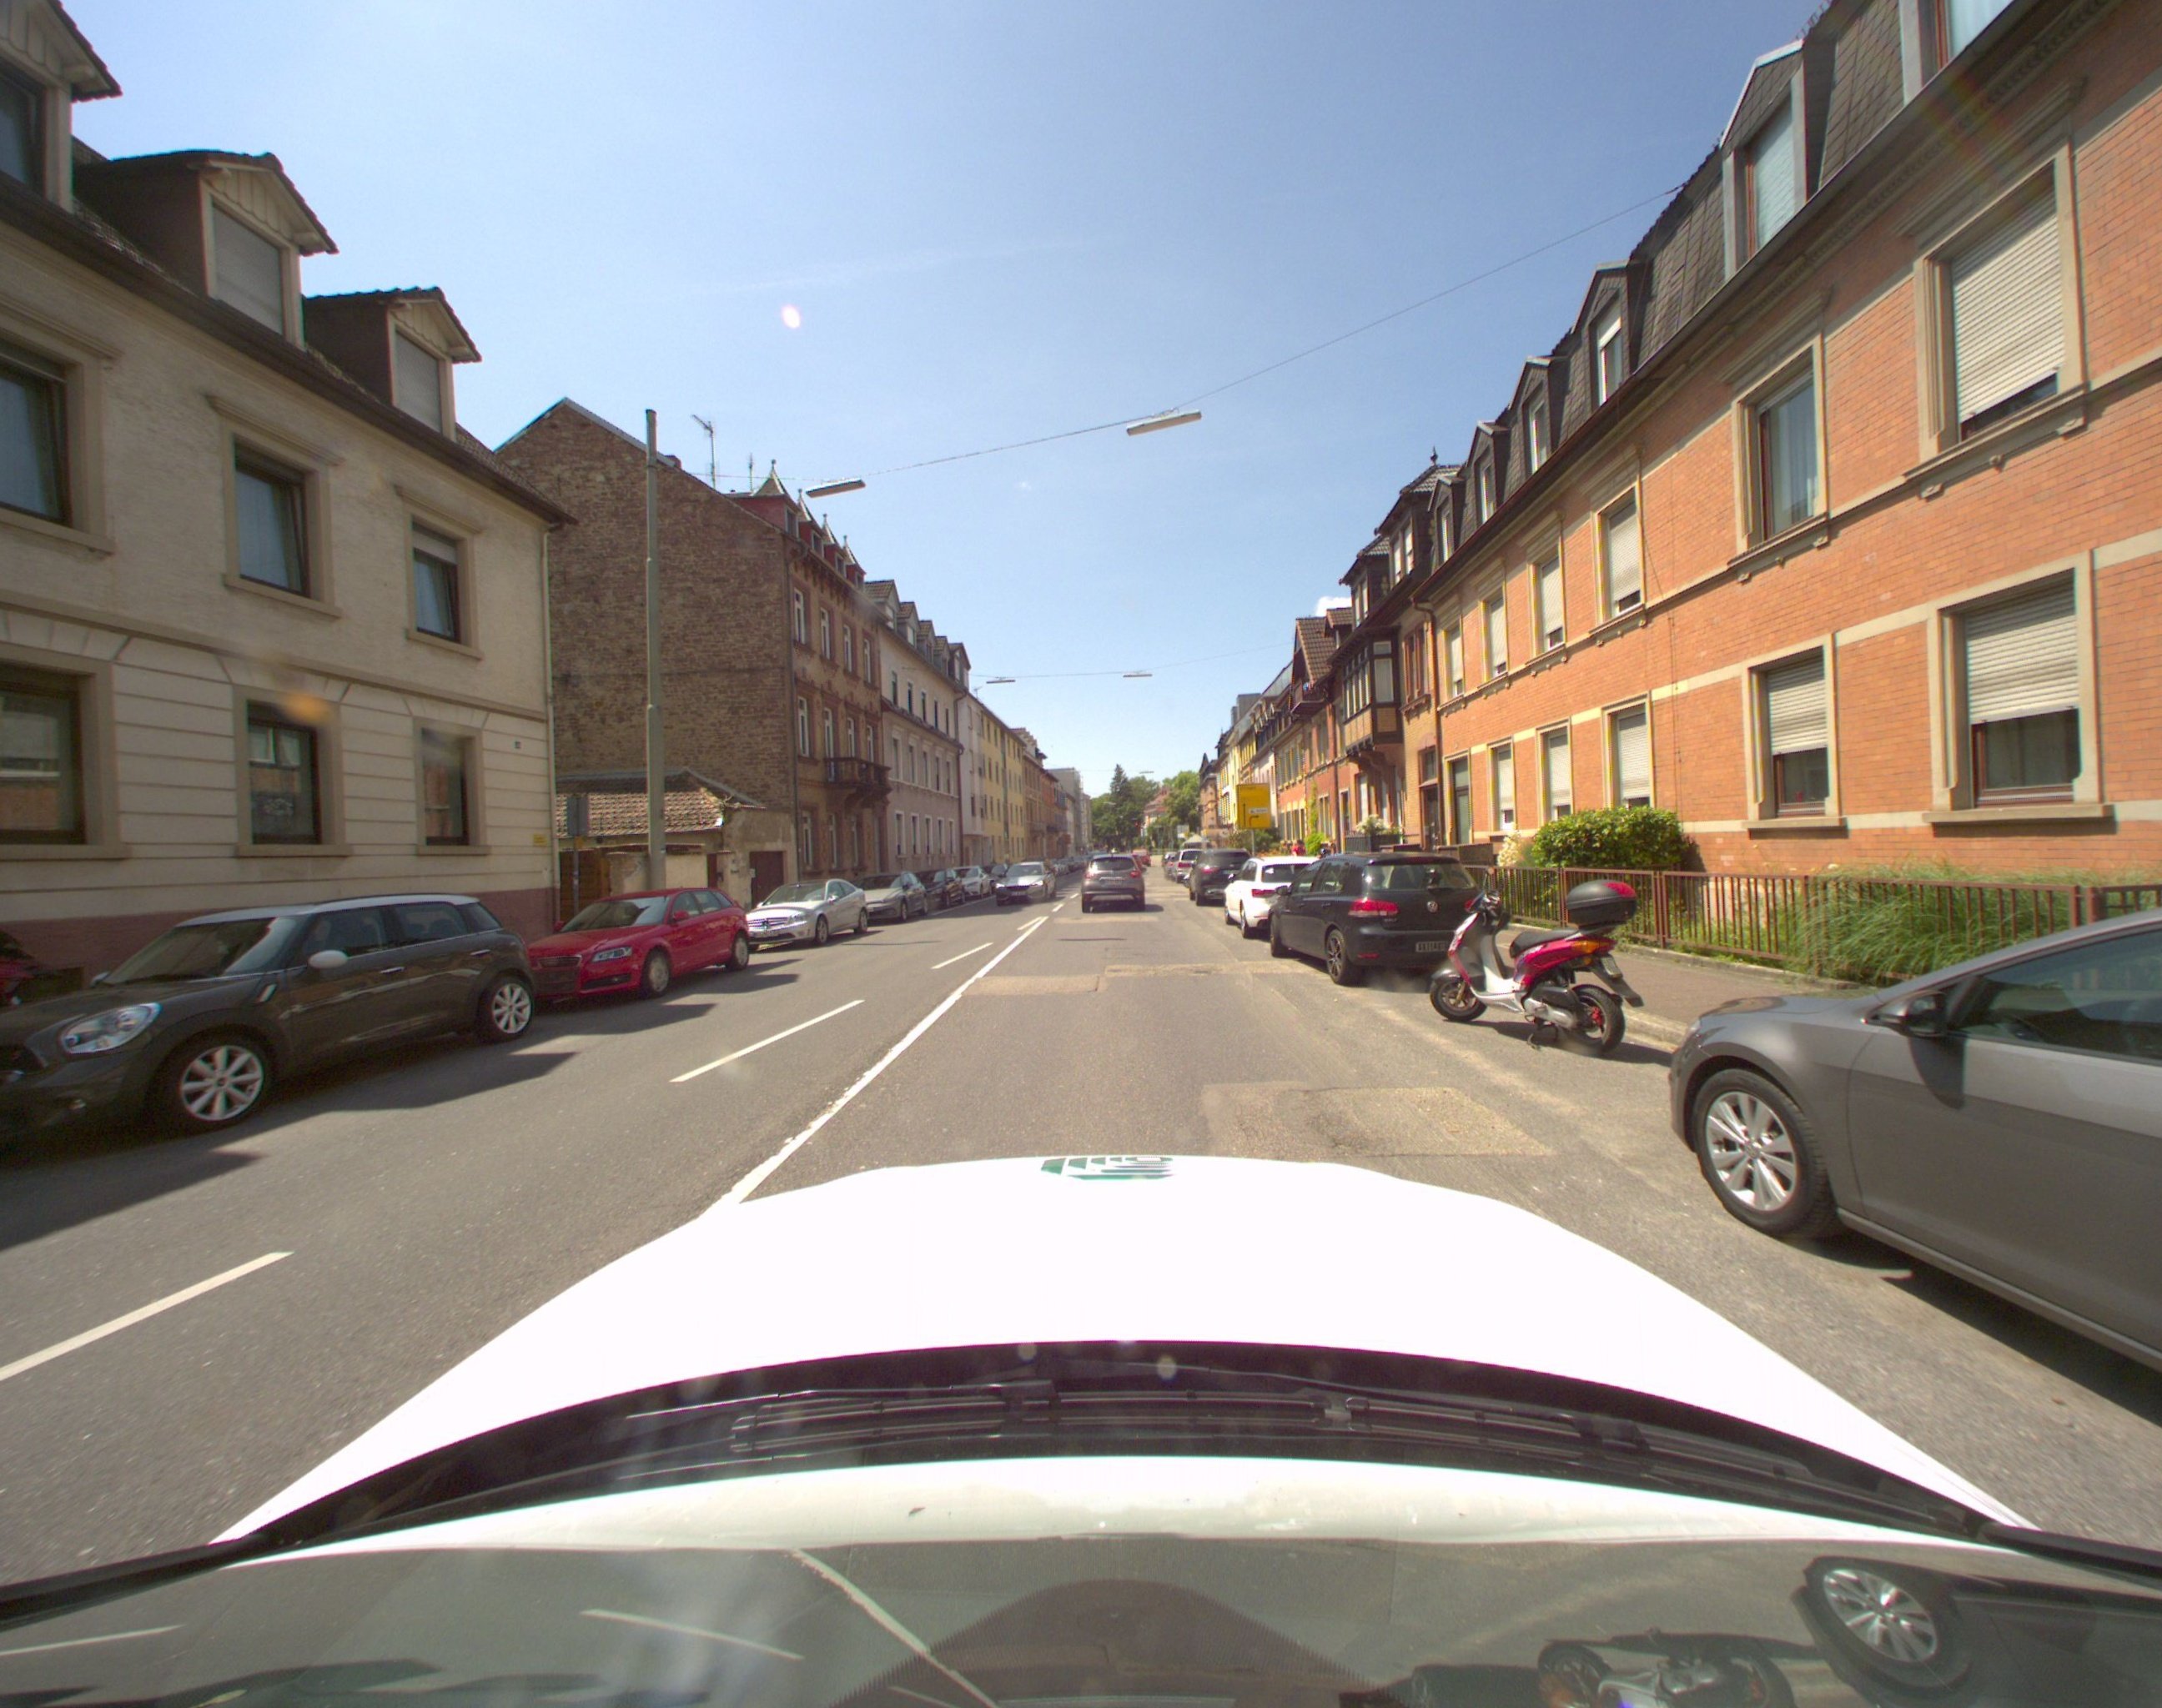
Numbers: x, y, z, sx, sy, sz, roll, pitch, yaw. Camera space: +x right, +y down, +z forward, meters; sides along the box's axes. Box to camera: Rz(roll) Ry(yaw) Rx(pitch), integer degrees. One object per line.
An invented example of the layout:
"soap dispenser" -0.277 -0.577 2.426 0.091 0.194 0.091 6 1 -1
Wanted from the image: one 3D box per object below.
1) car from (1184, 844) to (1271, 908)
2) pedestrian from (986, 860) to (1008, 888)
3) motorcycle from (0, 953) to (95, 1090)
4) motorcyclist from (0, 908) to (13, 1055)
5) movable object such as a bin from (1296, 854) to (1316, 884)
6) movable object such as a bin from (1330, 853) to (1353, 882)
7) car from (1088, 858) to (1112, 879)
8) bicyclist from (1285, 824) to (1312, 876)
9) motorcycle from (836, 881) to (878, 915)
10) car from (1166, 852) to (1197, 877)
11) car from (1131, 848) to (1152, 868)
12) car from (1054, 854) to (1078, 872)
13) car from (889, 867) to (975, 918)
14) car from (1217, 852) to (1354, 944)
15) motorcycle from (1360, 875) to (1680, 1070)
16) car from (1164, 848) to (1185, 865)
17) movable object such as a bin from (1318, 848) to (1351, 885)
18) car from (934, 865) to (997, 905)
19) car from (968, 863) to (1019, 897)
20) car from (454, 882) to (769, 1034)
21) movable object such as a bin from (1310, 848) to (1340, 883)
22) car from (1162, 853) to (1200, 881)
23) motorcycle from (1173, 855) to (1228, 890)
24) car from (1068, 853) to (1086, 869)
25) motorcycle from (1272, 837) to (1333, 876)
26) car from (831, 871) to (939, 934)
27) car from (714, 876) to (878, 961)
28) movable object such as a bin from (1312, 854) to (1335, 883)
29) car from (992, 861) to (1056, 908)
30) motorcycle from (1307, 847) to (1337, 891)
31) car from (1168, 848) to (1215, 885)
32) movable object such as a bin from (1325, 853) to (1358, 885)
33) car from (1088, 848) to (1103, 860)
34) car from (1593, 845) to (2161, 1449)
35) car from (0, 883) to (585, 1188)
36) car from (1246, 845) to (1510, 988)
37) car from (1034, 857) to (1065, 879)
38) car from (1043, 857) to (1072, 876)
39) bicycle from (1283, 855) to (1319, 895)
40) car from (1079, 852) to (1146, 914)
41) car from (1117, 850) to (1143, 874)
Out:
"car" 4.359 0.602 24.938 1.985 1.662 4.630 -4 0 4
"pedestrian" -5.515 1.294 53.667 1.145 1.750 0.971 -4 0 6
"motorcycle" -9.627 1.487 6.619 0.842 1.078 1.873 -4 0 3
"motorcyclist" -9.600 1.114 6.660 0.715 1.248 0.712 -4 0 2
"movable object such as a bin" 8.629 0.563 31.216 0.554 1.076 0.728 -3 0 4
"movable object such as a bin" 9.951 0.506 31.121 0.606 1.076 0.762 -3 0 4
"car" 1.893 1.409 79.822 1.985 1.792 5.154 -4 0 4
"bicyclist" 6.404 -0.106 23.961 0.530 1.469 0.792 -4 0 4
"motorcycle" -7.940 1.553 28.957 0.709 1.053 1.940 -3 0 7
"car" 6.578 0.668 53.749 1.688 1.487 4.623 -2 0 4
"car" 6.781 0.402 91.104 1.983 2.013 4.475 -4 0 7
"car" -1.466 0.874 80.544 1.897 1.619 4.306 -5 0 3
"car" -5.359 1.349 29.957 1.831 1.422 4.508 -7 0 5
"car" 3.767 0.730 15.804 1.709 1.414 4.594 -4 0 4
"motorcycle" 3.398 0.809 6.390 1.971 1.225 1.120 -2 0 42
"car" 8.839 0.242 77.247 1.851 1.553 4.006 -2 0 5
"movable object such as a bin" 7.989 0.384 25.672 0.785 1.088 0.539 -4 0 0
"car" -4.938 1.294 35.462 1.833 1.422 4.504 -6 0 1
"car" -4.381 1.266 41.381 1.833 1.422 4.647 -6 0 1
"car" -6.384 1.300 11.834 1.834 1.422 4.501 -6 0 0
"movable object such as a bin" 8.042 0.373 26.863 0.785 1.088 0.554 -4 0 0
"car" 5.820 0.710 47.797 1.853 1.487 4.312 -2 0 2
"motorcycle" 5.089 0.786 34.836 1.970 1.385 1.120 -3 -1 42
"car" -0.440 0.788 91.983 1.899 1.619 4.302 -5 0 0
"motorcycle" 9.046 0.103 33.336 2.120 1.408 0.938 -5 0 3
"car" -5.725 1.362 24.351 1.833 1.422 4.504 -8 -1 2
"car" -6.253 1.354 18.497 1.832 1.422 4.505 -6 0 3
"movable object such as a bin" 9.279 0.548 31.155 0.656 1.055 0.749 -3 0 4
"car" -1.990 1.056 29.630 1.783 1.420 4.317 -3 0 2
"motorcycle" 7.184 0.439 24.322 0.438 1.237 1.359 -5 0 3
"car" 5.698 0.610 42.497 1.854 1.747 4.619 -2 0 1
"movable object such as a bin" 7.998 0.465 25.052 0.785 0.907 0.539 -4 0 0
"car" 2.402 0.047 132.227 1.895 1.821 4.309 -4 0 5
"car" 3.401 0.694 1.978 1.695 1.380 4.167 -3 0 1
"car" -6.767 1.234 7.078 1.832 1.596 4.505 -7 0 3
"car" 3.581 0.667 10.796 1.644 1.414 4.497 -3 0 -2
"car" -2.482 1.107 64.968 1.896 1.510 4.307 -6 0 4
"car" -2.025 1.051 71.157 1.896 1.401 4.760 -6 0 4
"bicycle" 6.445 0.589 23.916 0.590 1.066 1.884 -4 0 4
"car" 0.989 0.772 23.653 1.736 1.616 4.004 -2 0 4
"car" 3.753 0.563 62.646 1.805 1.620 4.444 -5 0 2
